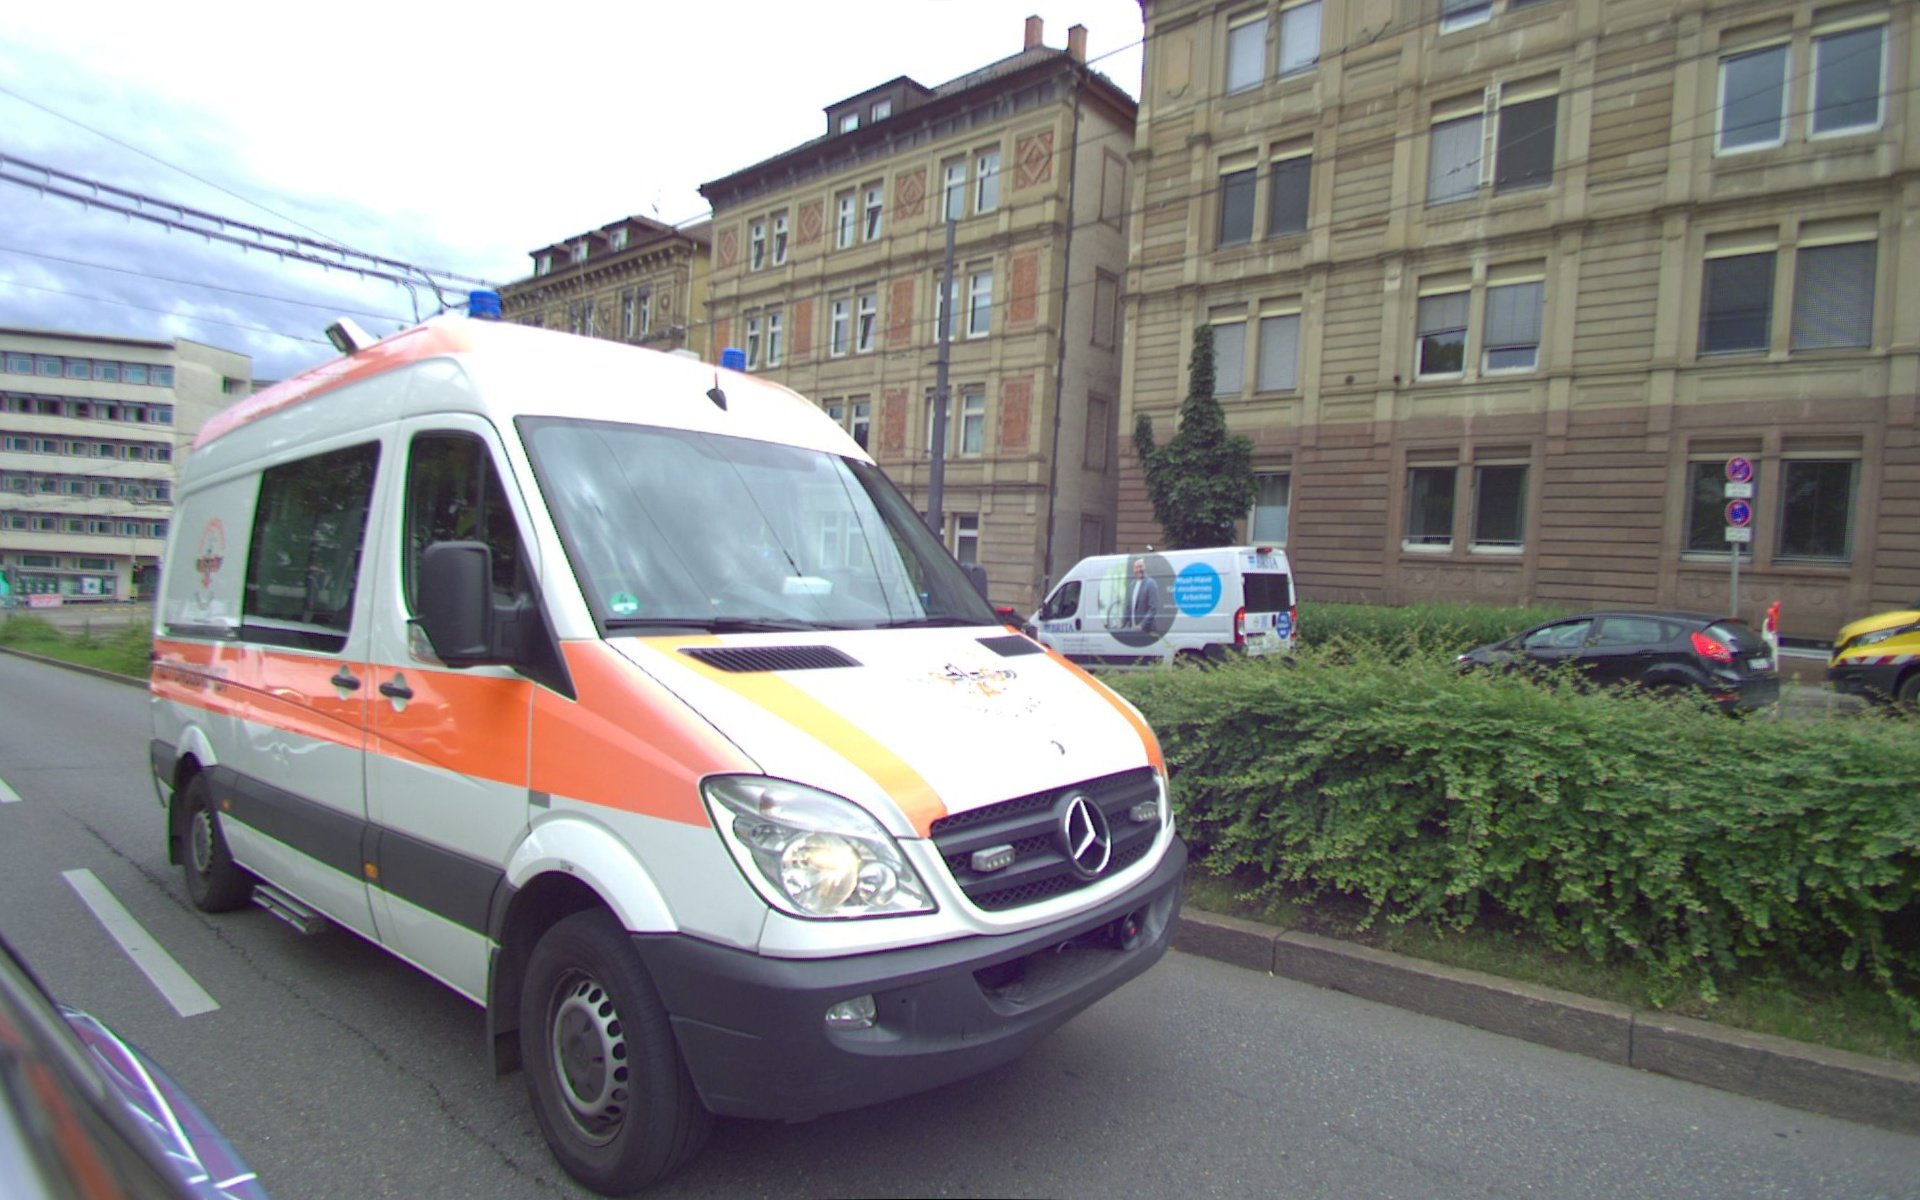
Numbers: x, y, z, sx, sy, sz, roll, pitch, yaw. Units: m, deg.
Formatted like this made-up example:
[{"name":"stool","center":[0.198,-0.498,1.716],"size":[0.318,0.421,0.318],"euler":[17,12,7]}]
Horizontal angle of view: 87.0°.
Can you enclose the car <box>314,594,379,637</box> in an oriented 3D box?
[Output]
[{"name":"car","center":[-31.719,0.811,52.278],"size":[3.915,2.137,1.771],"euler":[0,-2,42]}]

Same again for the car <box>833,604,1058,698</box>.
[{"name":"car","center":[-0.330,0.867,18.602],"size":[3.949,1.531,1.846],"euler":[0,-2,42]}]

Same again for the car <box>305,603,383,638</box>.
[{"name":"car","center":[-27.535,0.901,45.200],"size":[3.999,1.522,1.863],"euler":[0,-2,42]}]

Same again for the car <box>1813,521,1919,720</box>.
[{"name":"car","center":[14.526,0.264,11.890],"size":[6.743,2.454,2.418],"euler":[0,0,37]}]

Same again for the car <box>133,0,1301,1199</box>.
[{"name":"car","center":[-1.751,0.306,4.445],"size":[5.852,2.720,2.012],"euler":[-1,-1,42]}]

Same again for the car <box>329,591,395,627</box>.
[{"name":"car","center":[-33.328,0.526,56.402],"size":[3.995,1.930,1.825],"euler":[0,-2,38]}]

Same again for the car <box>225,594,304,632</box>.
[{"name":"car","center":[-30.808,0.569,44.806],"size":[3.999,1.596,1.972],"euler":[0,-2,42]}]

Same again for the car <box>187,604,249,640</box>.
[{"name":"car","center":[-35.832,1.038,48.858],"size":[3.844,1.641,1.659],"euler":[0,-2,43]}]

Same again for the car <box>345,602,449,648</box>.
[{"name":"car","center":[-19.603,0.837,35.207],"size":[3.997,1.507,1.875],"euler":[0,-2,41]}]

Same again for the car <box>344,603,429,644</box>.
[{"name":"car","center":[-23.763,0.958,41.912],"size":[3.997,1.581,1.736],"euler":[0,-2,40]}]

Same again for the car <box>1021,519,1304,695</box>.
[{"name":"car","center":[3.653,0.148,18.880],"size":[4.786,2.844,2.184],"euler":[-1,-2,45]}]

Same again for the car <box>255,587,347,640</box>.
[{"name":"car","center":[-27.068,0.556,41.509],"size":[4.749,2.029,2.118],"euler":[0,-2,44]}]

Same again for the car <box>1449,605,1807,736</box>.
[{"name":"car","center":[8.597,0.817,13.309],"size":[1.622,1.465,3.574],"euler":[0,-1,-34]}]
